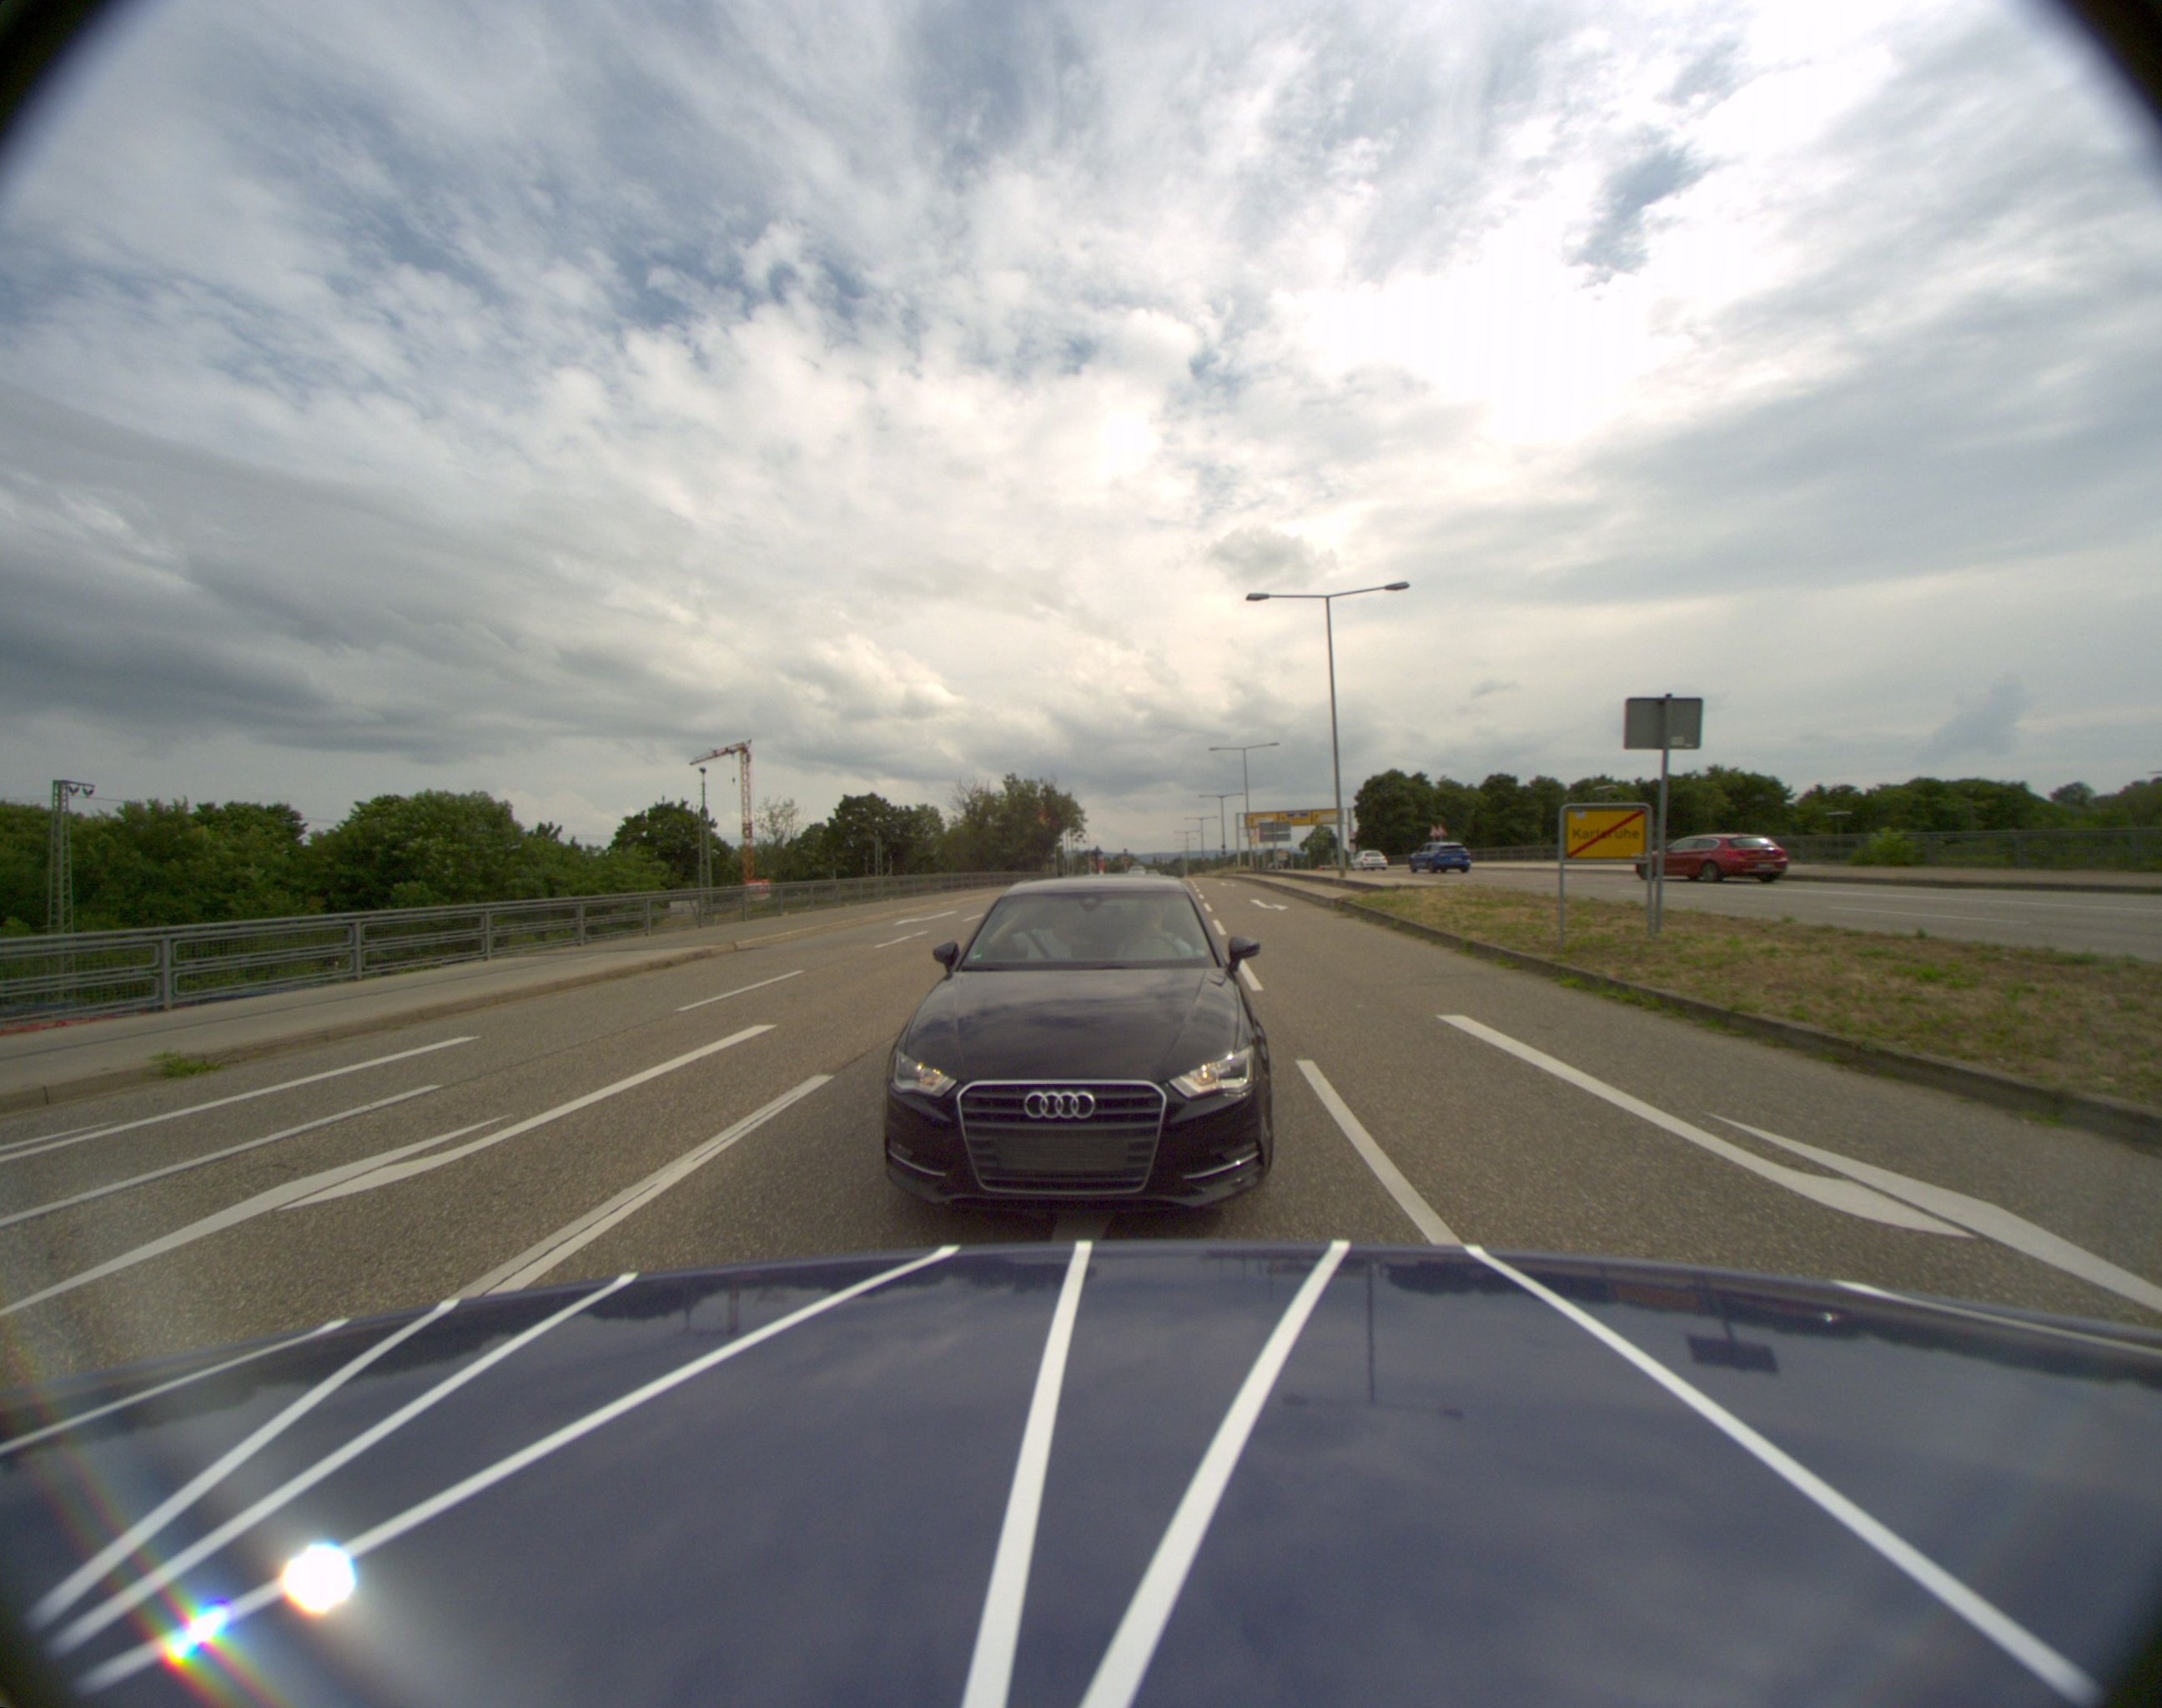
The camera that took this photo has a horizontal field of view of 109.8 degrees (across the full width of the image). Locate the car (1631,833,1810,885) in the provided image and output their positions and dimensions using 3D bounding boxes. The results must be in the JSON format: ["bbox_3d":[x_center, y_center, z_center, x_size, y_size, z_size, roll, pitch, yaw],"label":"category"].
[{"bbox_3d":[19.360,0.123,23.295,1.948,1.372,4.215,-2,0,1],"label":"car"}]

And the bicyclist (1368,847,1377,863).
[{"bbox_3d":[31.886,0.131,83.076,0.685,1.662,0.847,-3,0,6],"label":"bicyclist"}]

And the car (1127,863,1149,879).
[{"bbox_3d":[5.449,1.591,72.184,1.860,1.335,4.002,-2,0,7],"label":"car"}]

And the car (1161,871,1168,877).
[{"bbox_3d":[23.009,5.531,208.832,1.860,1.335,4.002,-2,0,7],"label":"car"}]

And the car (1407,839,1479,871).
[{"bbox_3d":[19.018,0.016,40.140,1.947,1.551,4.465,-2,0,5],"label":"car"}]

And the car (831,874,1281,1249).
[{"bbox_3d":[0.146,0.934,5.522,1.851,1.355,4.731,-2,0,7],"label":"car"}]

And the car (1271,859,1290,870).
[{"bbox_3d":[26.367,1.378,100.500,1.796,1.410,4.002,-2,0,8],"label":"car"}]

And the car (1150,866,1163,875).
[{"bbox_3d":[12.163,2.689,122.558,1.860,1.335,4.002,-2,0,7],"label":"car"}]

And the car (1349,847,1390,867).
[{"bbox_3d":[21.490,0.194,56.767,1.729,1.437,3.877,-2,1,3],"label":"car"}]
